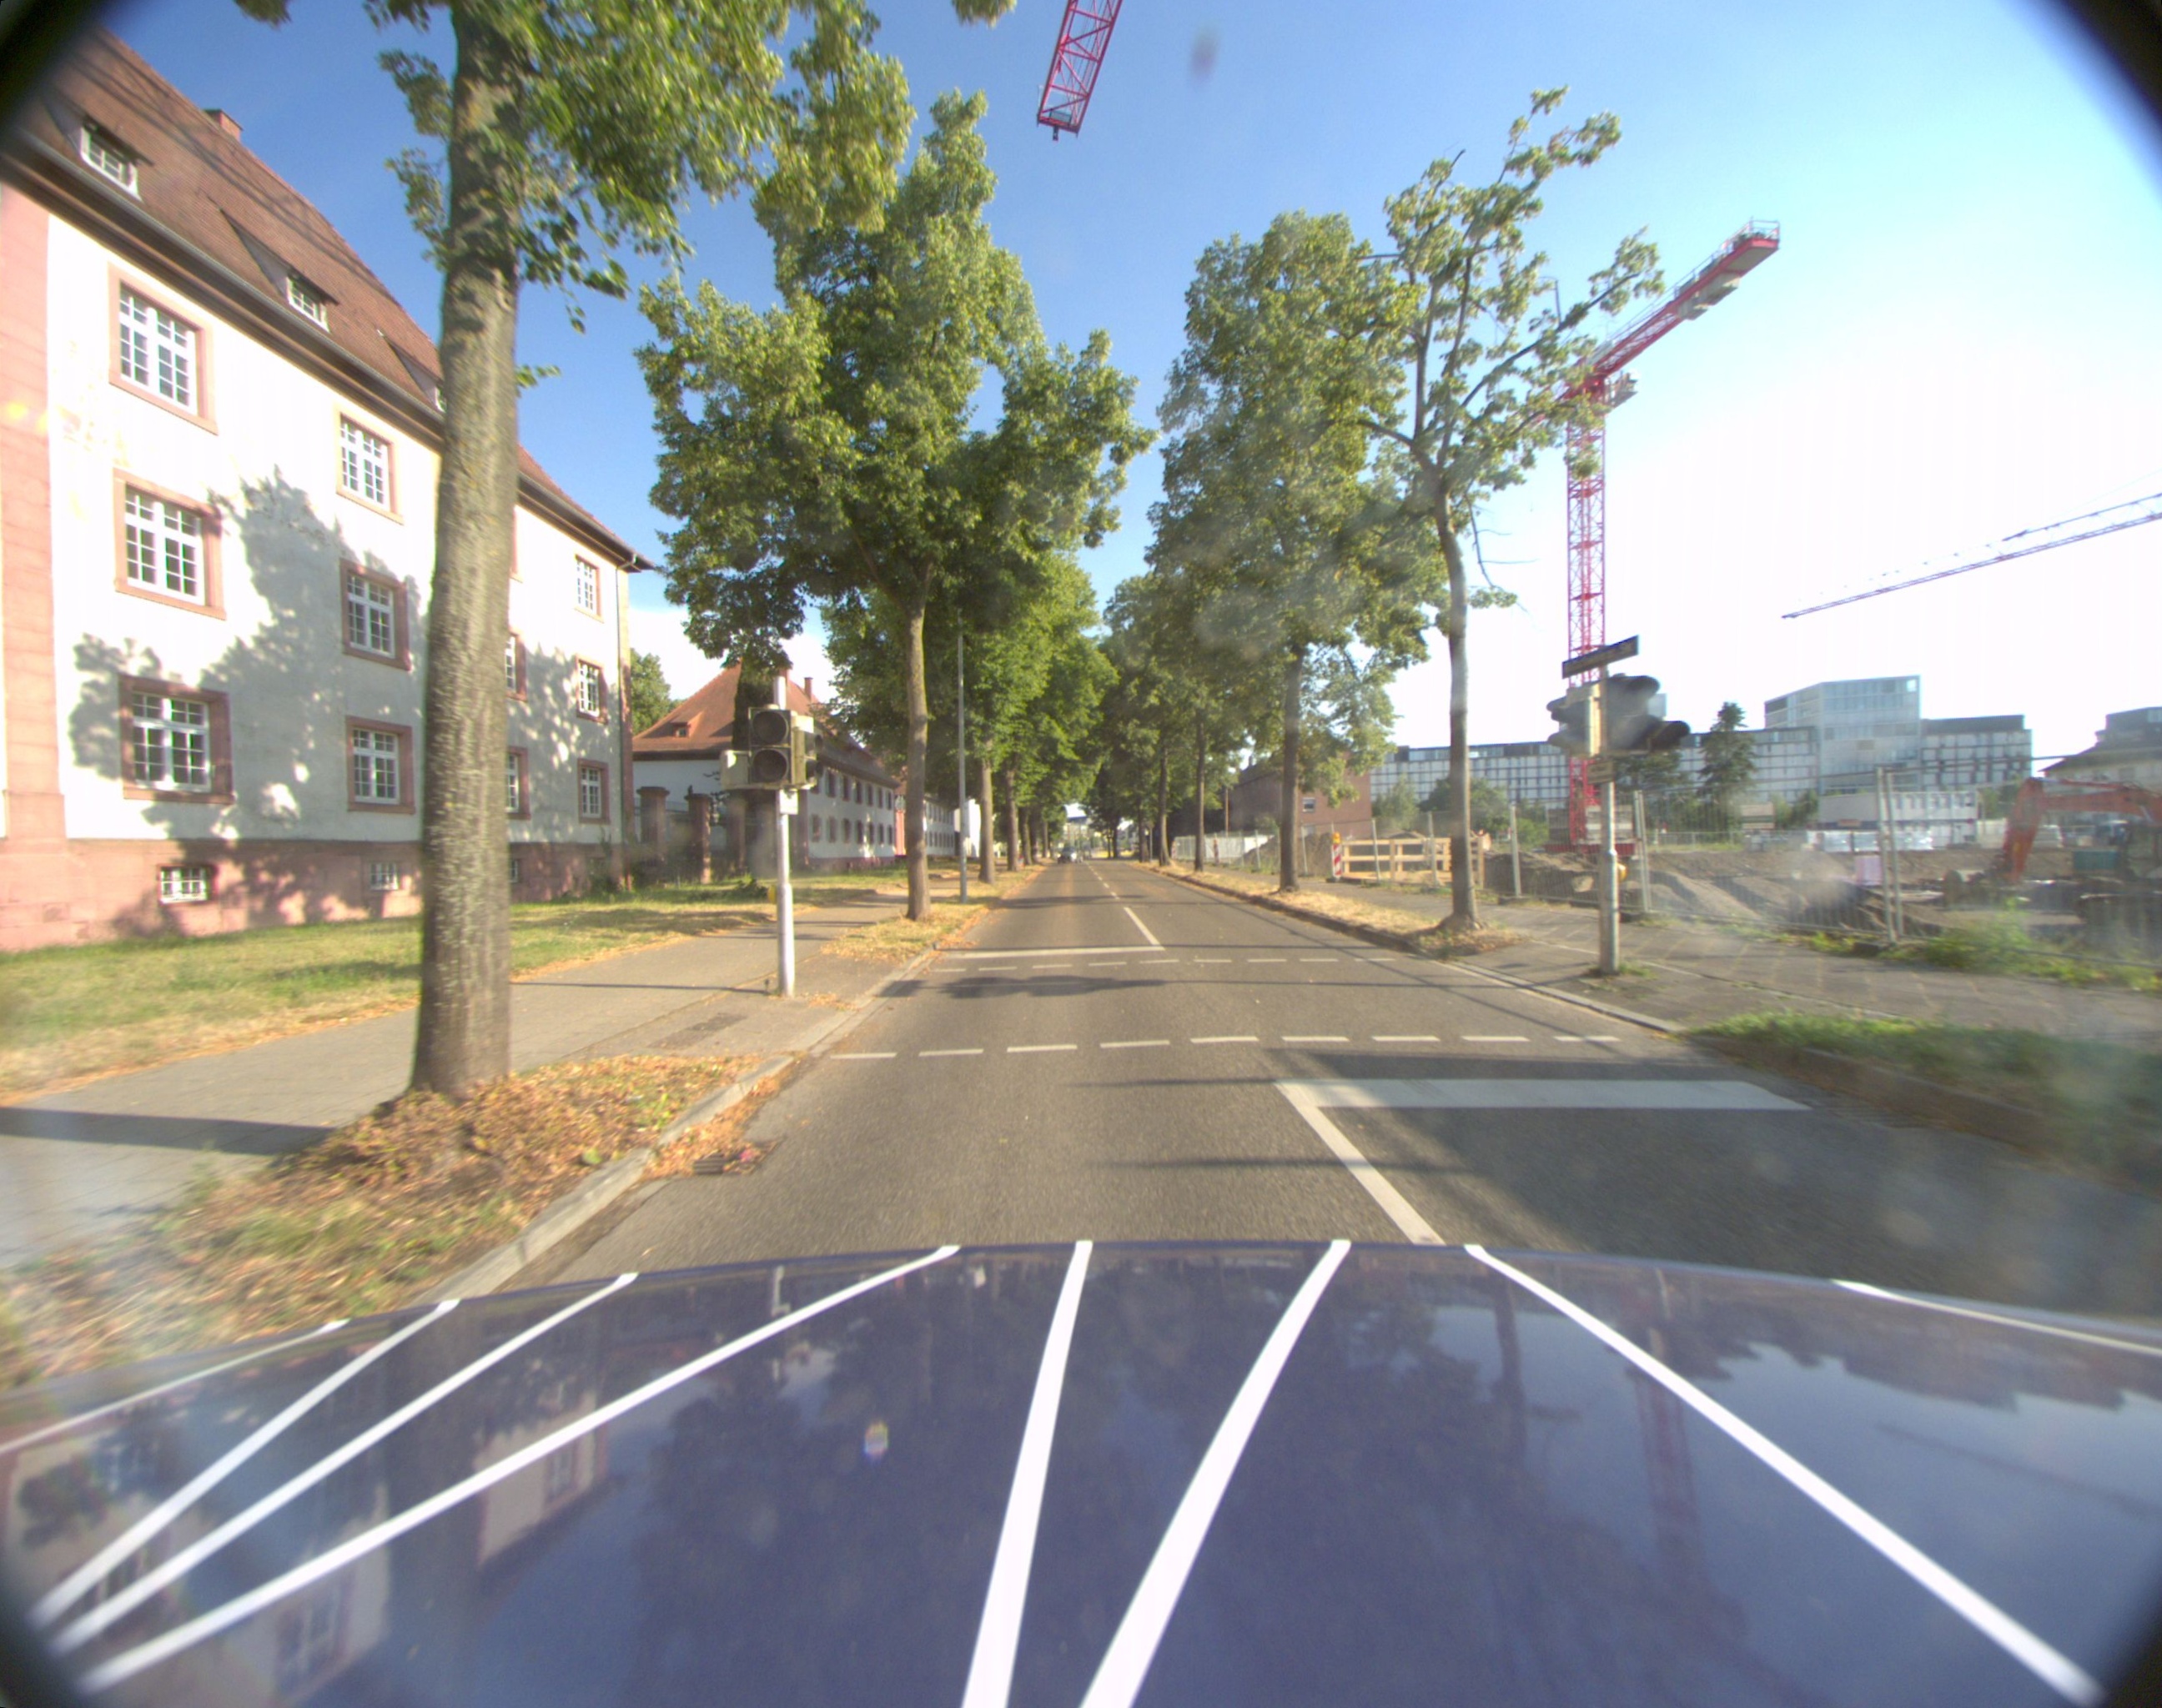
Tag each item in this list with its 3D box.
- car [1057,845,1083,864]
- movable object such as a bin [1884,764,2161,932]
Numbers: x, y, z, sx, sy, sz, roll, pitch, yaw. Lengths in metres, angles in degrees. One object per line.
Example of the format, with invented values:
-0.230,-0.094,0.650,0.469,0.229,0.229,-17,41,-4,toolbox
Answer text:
-0.887,-0.005,64.384,1.775,1.492,3.674,-2,0,5,car
34.659,-0.394,25.238,4.095,5.036,12.224,-3,2,7,movable object such as a bin
